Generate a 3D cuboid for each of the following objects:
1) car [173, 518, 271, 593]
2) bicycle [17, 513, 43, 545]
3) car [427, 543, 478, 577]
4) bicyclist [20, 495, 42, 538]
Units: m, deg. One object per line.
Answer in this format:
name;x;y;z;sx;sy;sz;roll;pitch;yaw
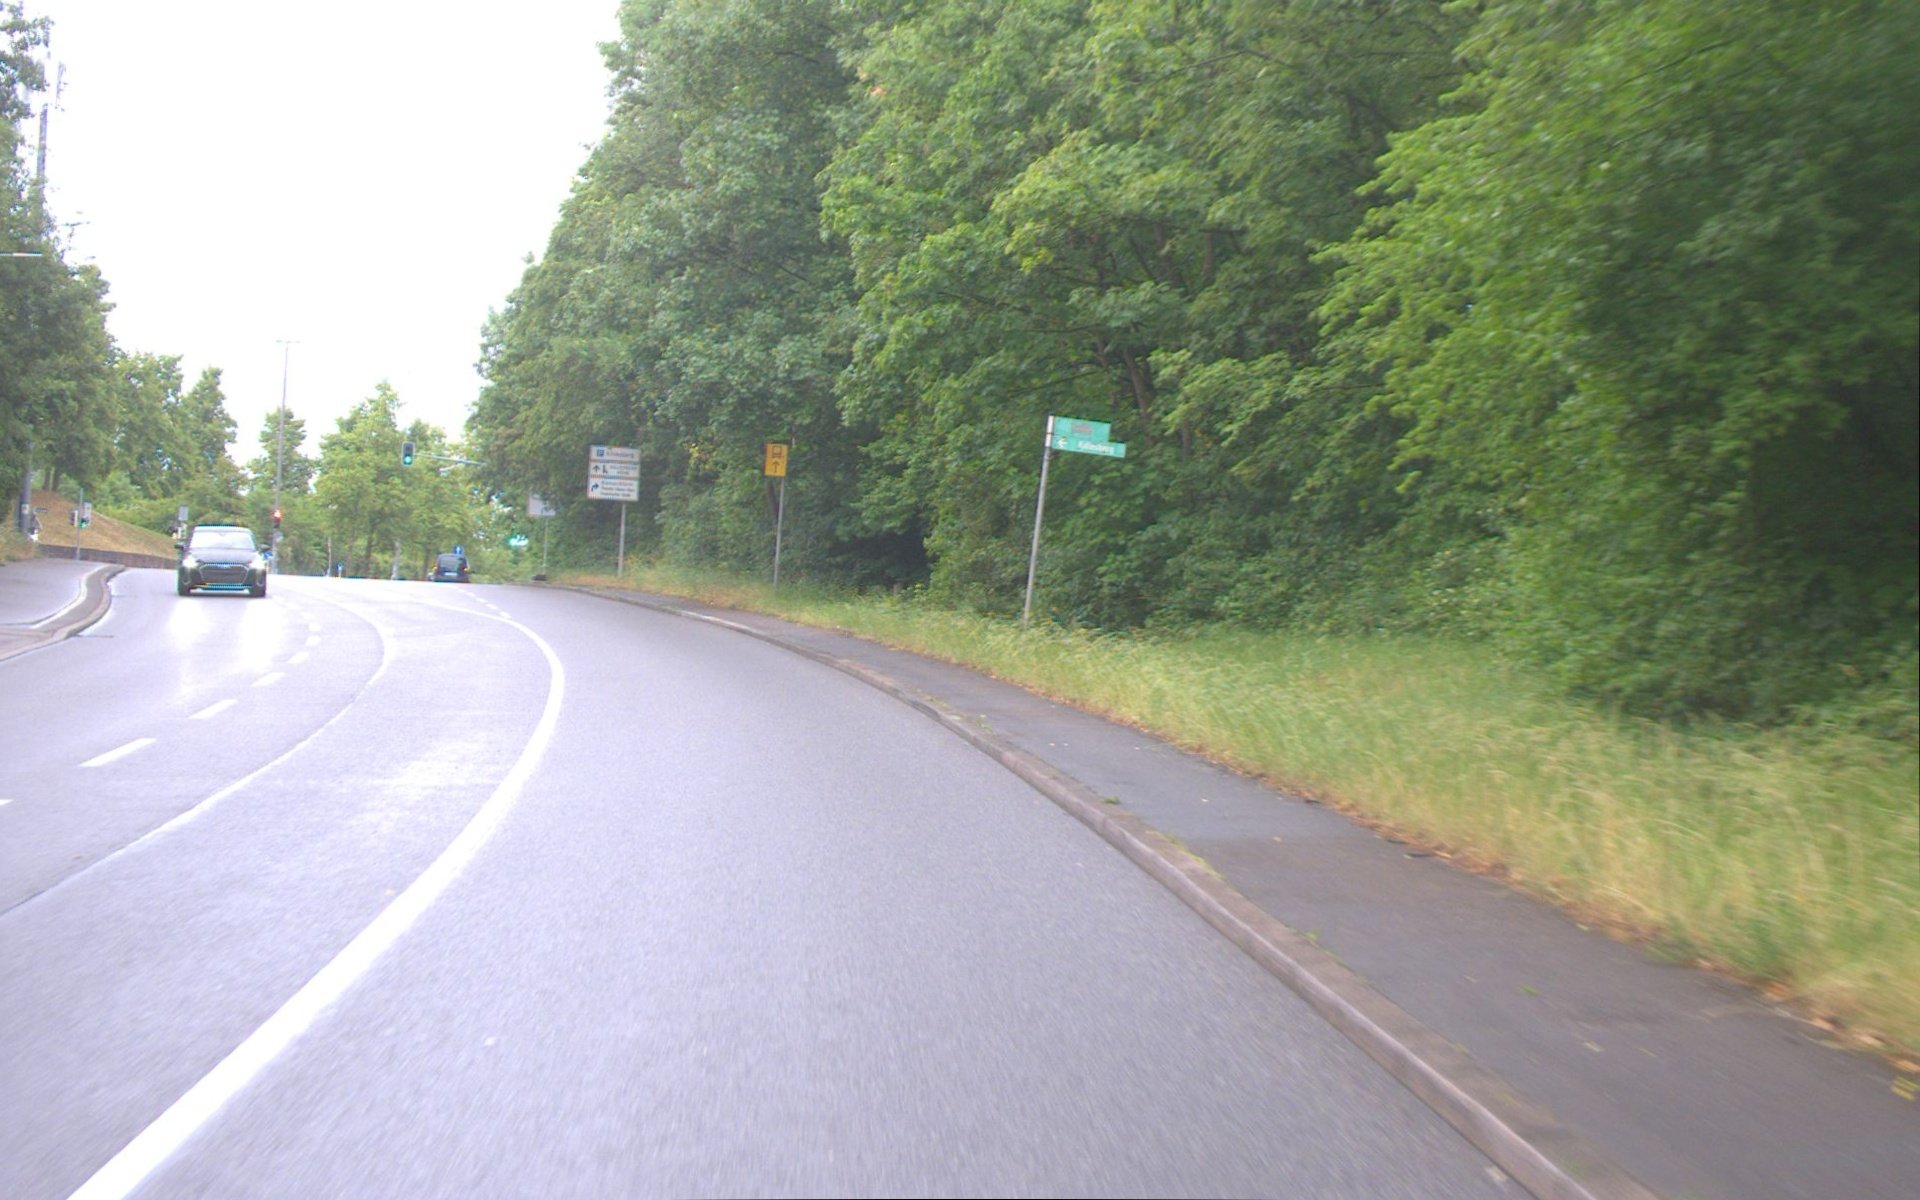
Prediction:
car;-15.610;-0.962;72.582;1.934;1.493;4.319;1;1;-13
bicycle;-36.239;-2.766;133.982;0.704;1.238;2.165;1;1;-22
car;-23.811;-1.888;161.475;1.935;1.493;4.319;2;1;-3
bicyclist;-36.219;-3.268;133.980;0.704;1.639;0.951;1;1;-22
